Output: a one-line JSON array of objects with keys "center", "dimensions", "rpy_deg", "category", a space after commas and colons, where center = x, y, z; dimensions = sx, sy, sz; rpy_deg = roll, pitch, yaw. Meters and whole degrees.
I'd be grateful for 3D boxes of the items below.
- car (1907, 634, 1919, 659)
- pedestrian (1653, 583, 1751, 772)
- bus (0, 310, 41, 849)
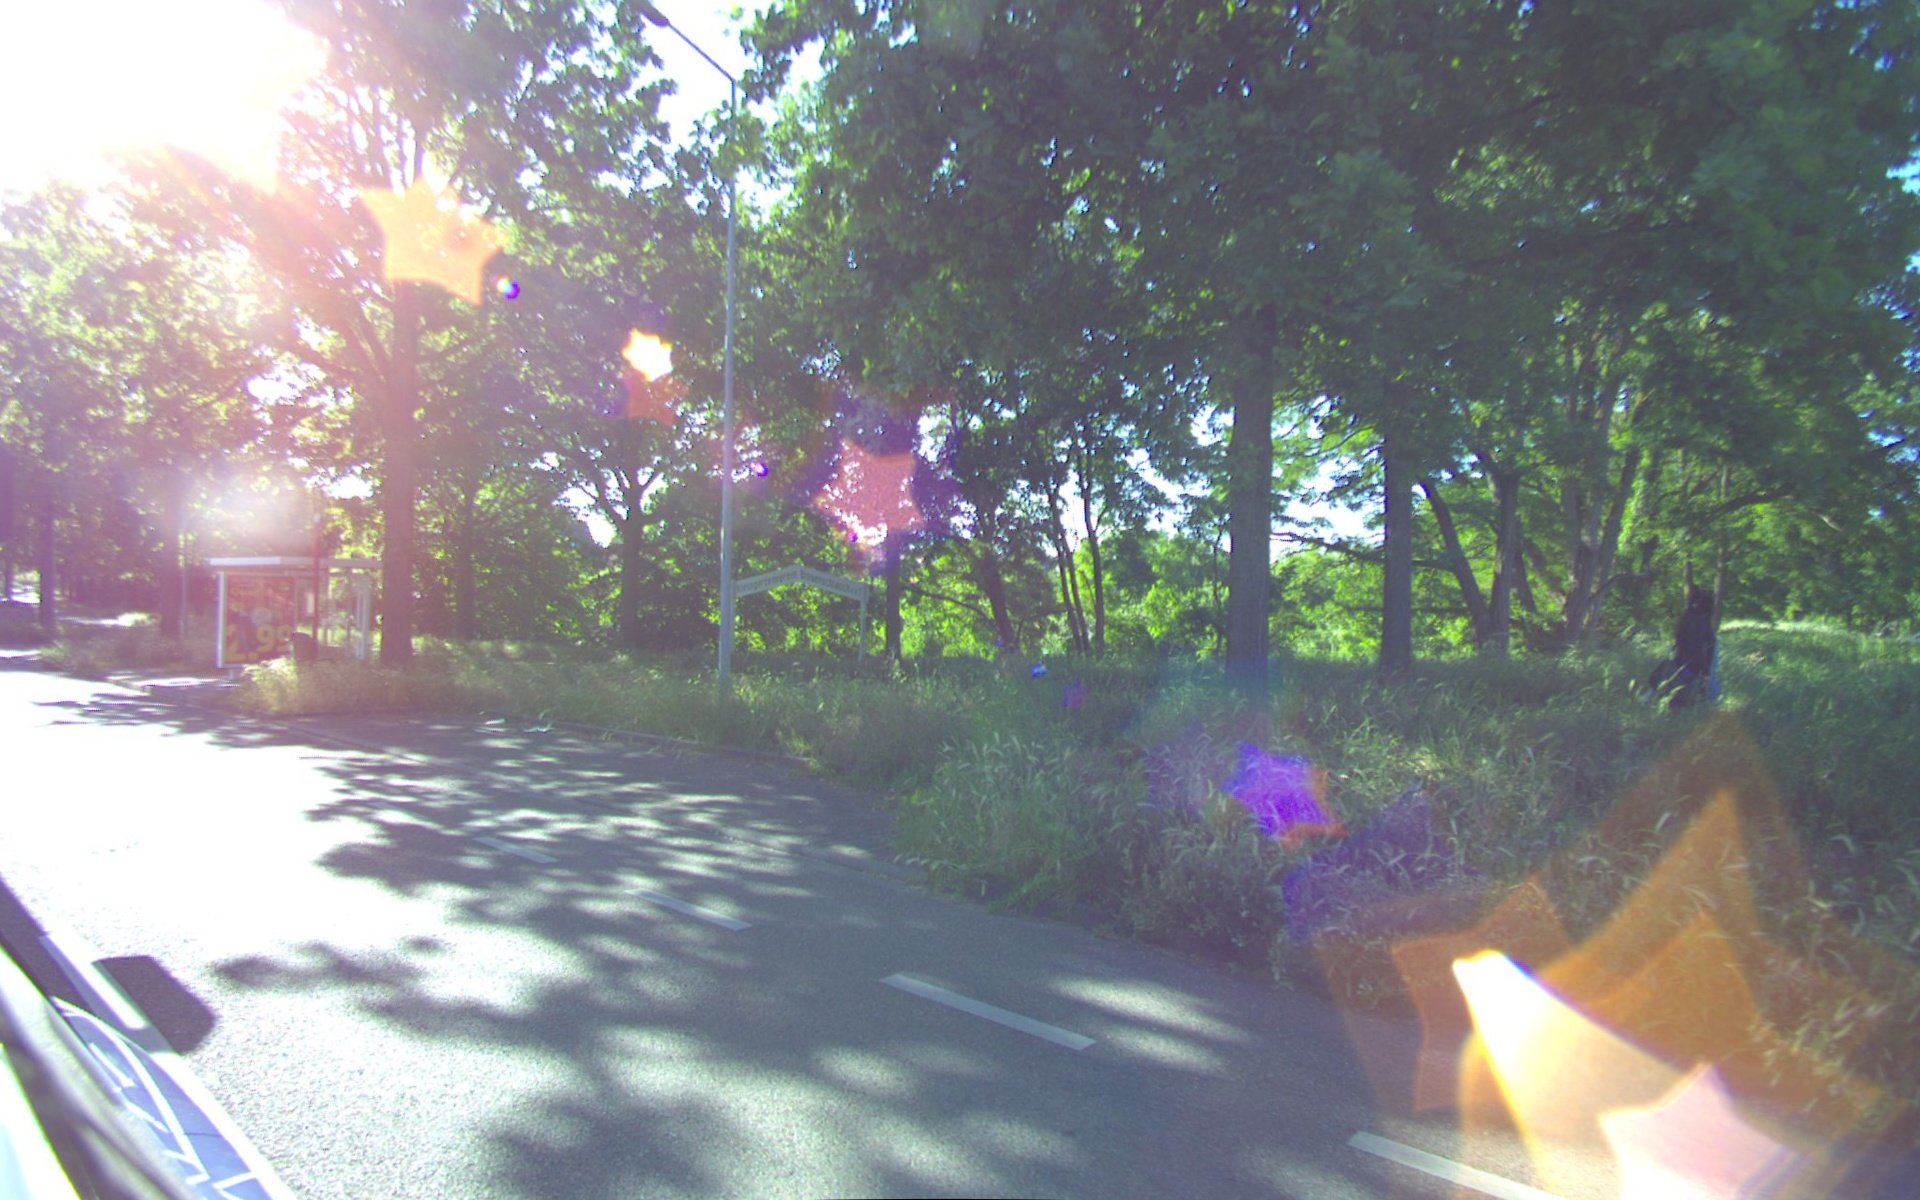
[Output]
[{"center": [78.124, 3.695, 80.362], "dimensions": [3.993, 1.940, 1.975], "rpy_deg": [-1, 0, 37], "category": "car"}, {"center": [6.837, 0.672, 9.319], "dimensions": [0.647, 1.646, 0.790], "rpy_deg": [-1, 0, 41], "category": "pedestrian"}, {"center": [-11.135, -0.051, 8.937], "dimensions": [12.473, 3.122, 3.088], "rpy_deg": [-1, 0, 41], "category": "bus"}]
